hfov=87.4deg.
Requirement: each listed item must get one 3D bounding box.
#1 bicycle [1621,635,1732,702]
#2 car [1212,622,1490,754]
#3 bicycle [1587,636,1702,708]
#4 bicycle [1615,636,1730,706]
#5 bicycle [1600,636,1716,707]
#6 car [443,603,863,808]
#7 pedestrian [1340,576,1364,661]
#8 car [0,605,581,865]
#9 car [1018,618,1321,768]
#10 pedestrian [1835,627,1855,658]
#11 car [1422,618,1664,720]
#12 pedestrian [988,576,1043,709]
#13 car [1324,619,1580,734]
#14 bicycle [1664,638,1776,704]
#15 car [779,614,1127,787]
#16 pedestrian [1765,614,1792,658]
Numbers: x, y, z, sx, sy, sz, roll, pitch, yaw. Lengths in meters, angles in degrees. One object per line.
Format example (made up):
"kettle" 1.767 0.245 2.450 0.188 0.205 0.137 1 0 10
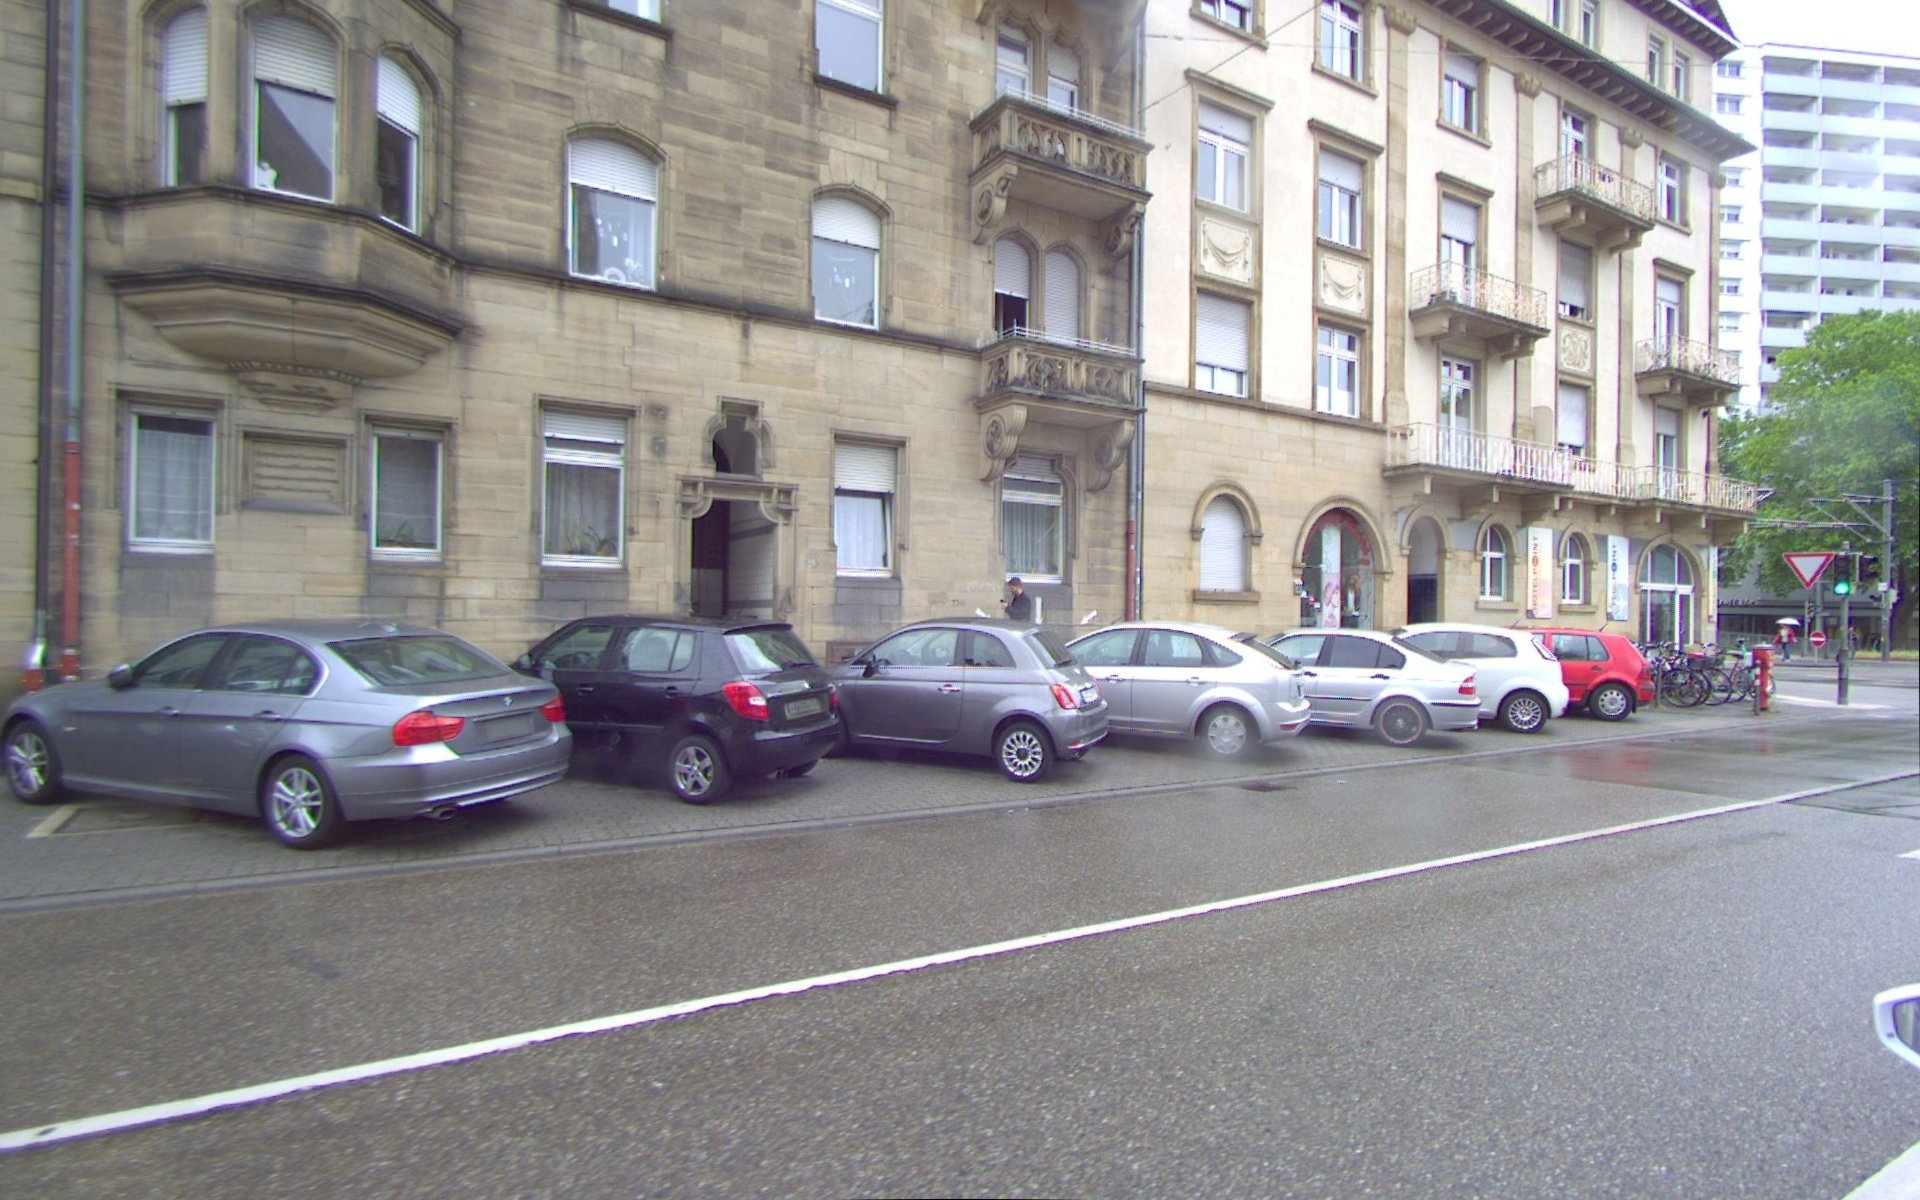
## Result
"bicycle" 14.655 1.377 20.587 0.601 1.283 1.755 1 -2 -30
"car" 5.257 1.112 13.722 3.337 1.578 1.705 0 -1 22
"bicycle" 12.950 1.342 19.055 0.516 1.283 1.755 1 -2 -30
"bicycle" 13.960 1.367 19.744 0.492 1.283 1.802 1 -2 -30
"bicycle" 13.408 1.344 19.342 0.492 1.283 1.802 1 -2 -30
"car" -2.824 0.852 9.323 3.485 1.619 1.605 0 -1 22
"pedestrian" 8.599 0.405 22.048 0.343 1.846 0.364 2 -2 -32
"car" -5.278 0.837 7.546 4.458 1.565 1.689 0 -1 18
"car" 2.560 1.030 12.144 3.337 1.578 1.705 0 -1 22
"pedestrian" 44.782 2.159 50.854 0.631 1.550 0.443 1 -1 -4
"car" 9.750 1.106 17.088 3.337 1.578 1.705 0 -1 22
"pedestrian" 0.874 0.661 15.844 0.647 2.040 0.565 1 -1 -30
"car" 7.375 1.097 15.376 3.337 1.578 1.705 0 -1 22
"bicycle" 15.600 1.431 20.667 0.601 1.283 1.755 1 -2 -30
"car" -0.047 0.957 10.692 3.337 1.578 1.652 0 -1 22
"pedestrian" 34.949 1.549 42.902 0.683 1.850 0.618 1 -2 -16
